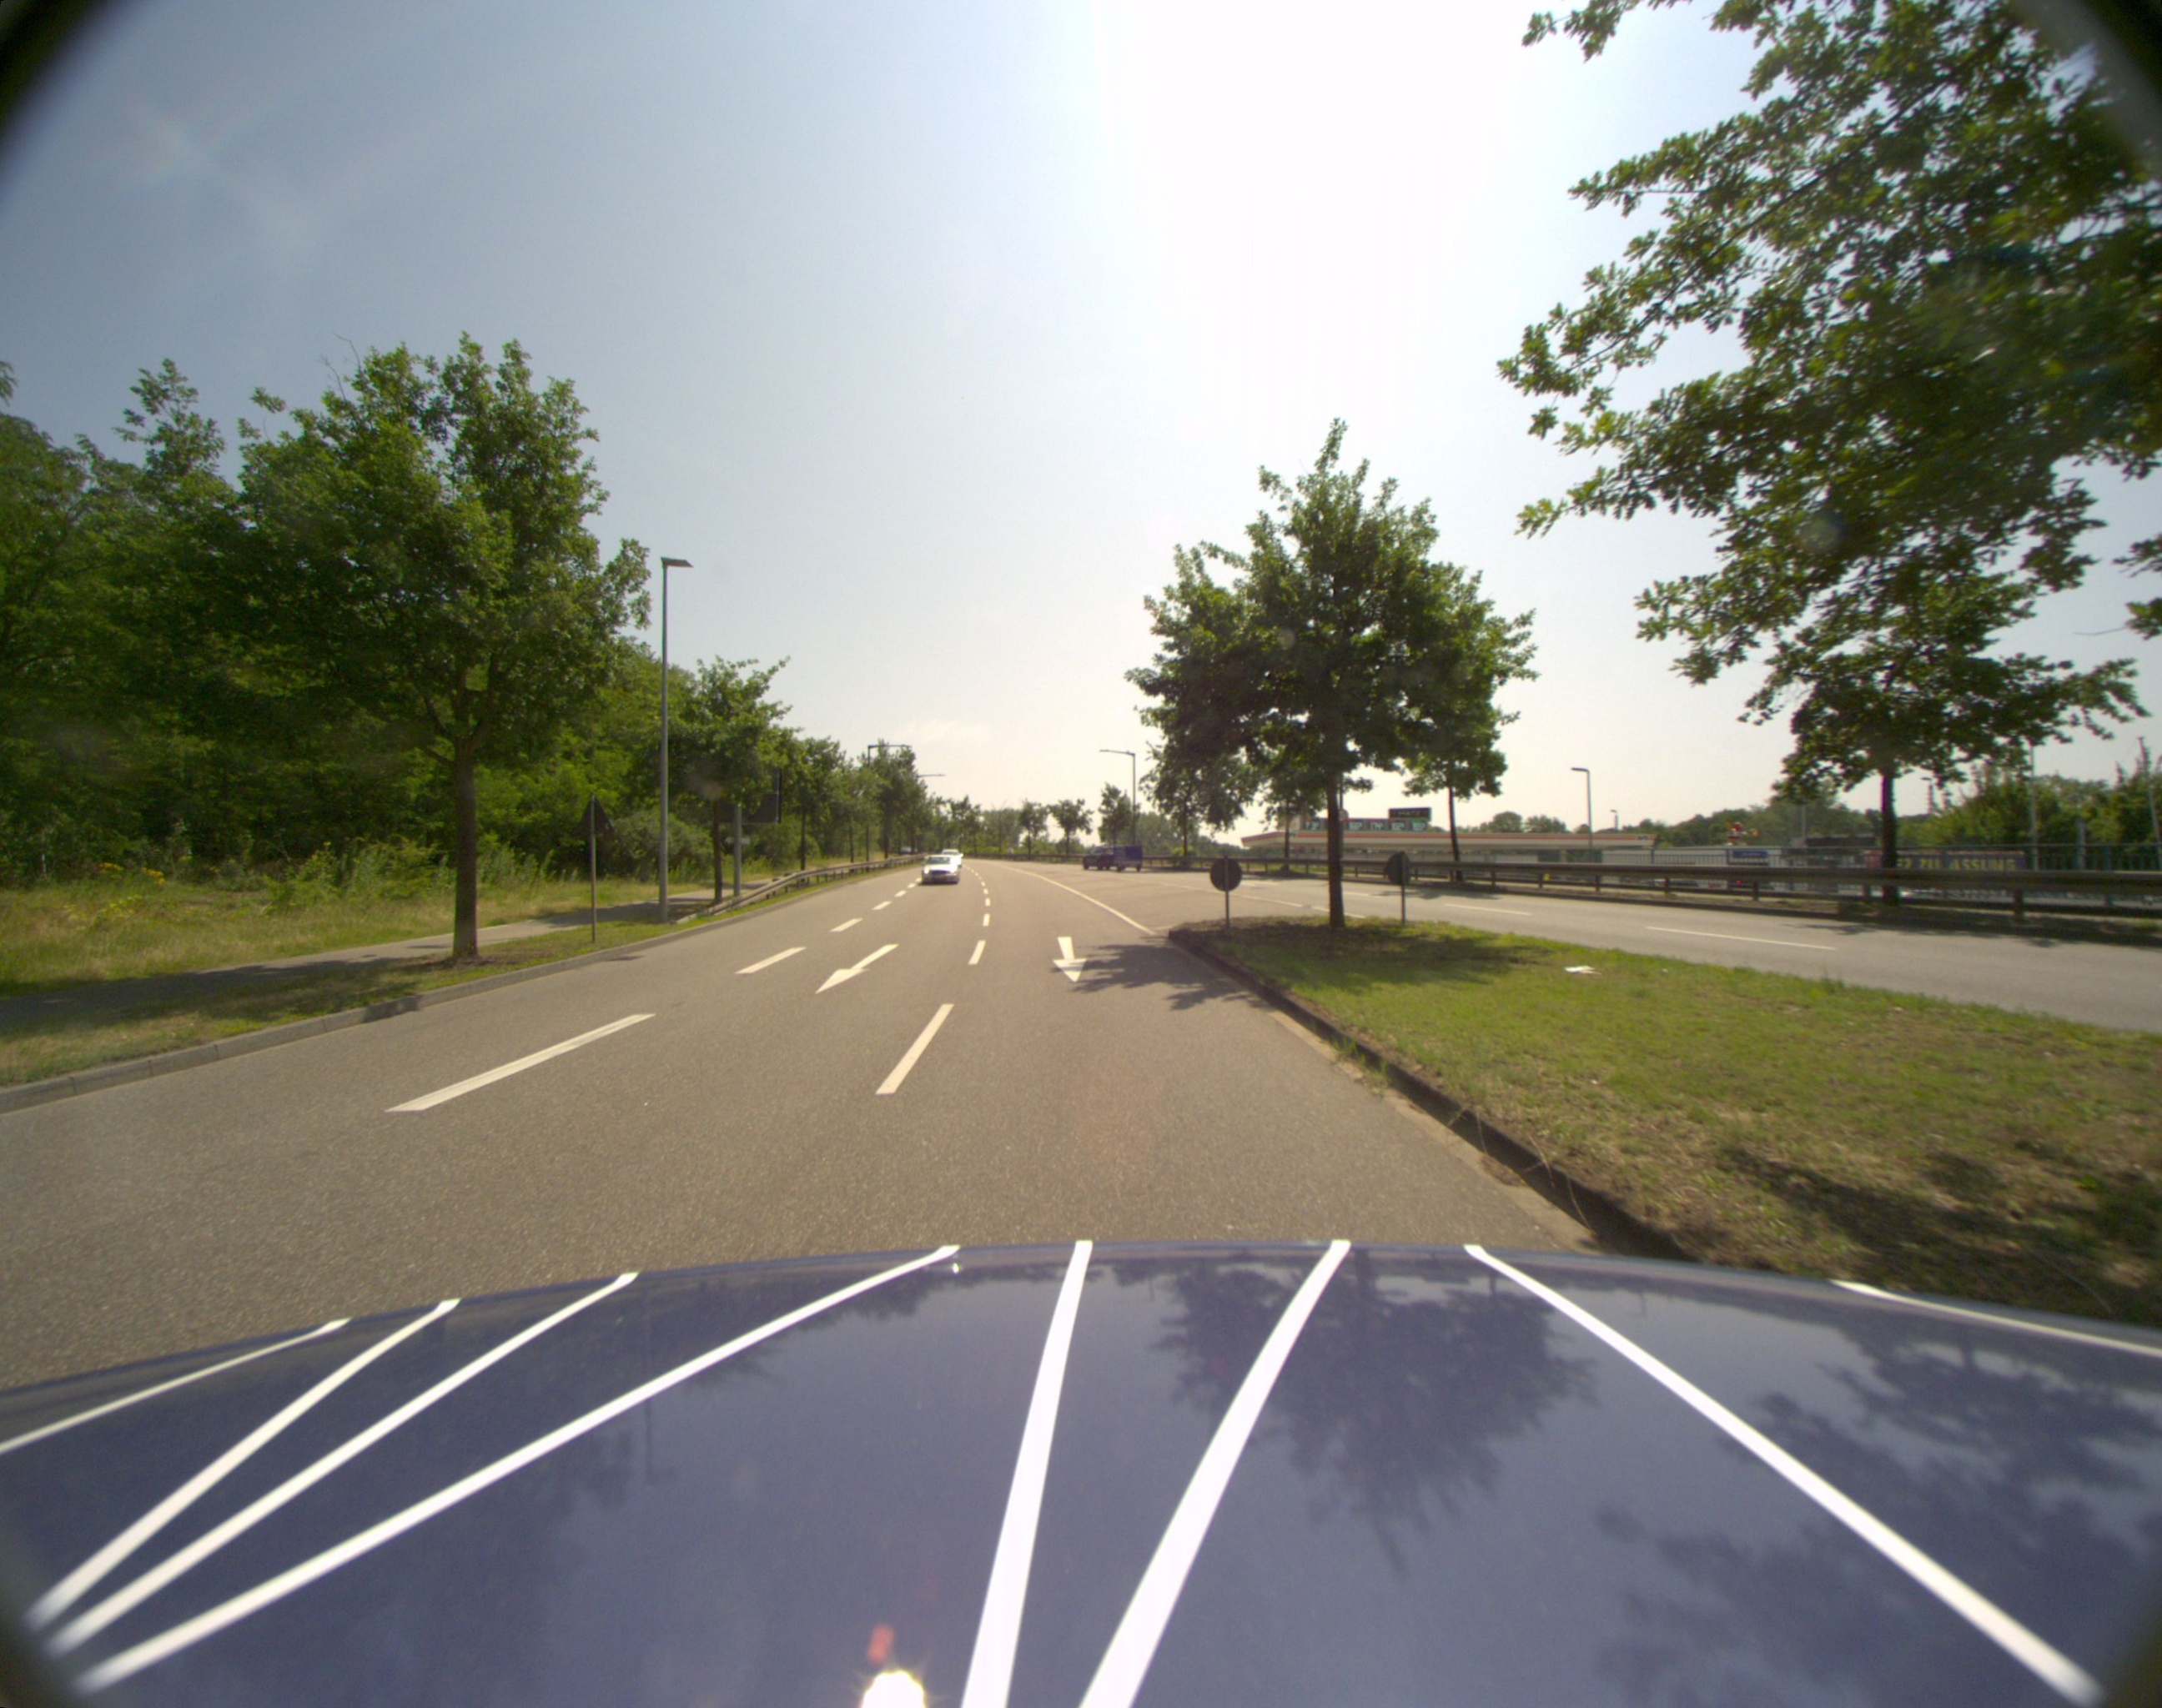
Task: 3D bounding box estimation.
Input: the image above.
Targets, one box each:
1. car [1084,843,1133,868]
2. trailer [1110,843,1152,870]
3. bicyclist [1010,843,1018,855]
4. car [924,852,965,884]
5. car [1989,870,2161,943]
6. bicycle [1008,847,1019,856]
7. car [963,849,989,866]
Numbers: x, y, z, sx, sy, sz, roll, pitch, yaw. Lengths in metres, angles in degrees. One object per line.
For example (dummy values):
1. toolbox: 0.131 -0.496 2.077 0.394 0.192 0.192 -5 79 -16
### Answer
1. car: 1.807 0.099 51.838 1.922 1.642 4.400 -2 0 -18
2. trailer: 3.116 0.134 48.201 1.511 1.606 3.303 -2 0 -18
3. bicyclist: -8.683 -0.646 97.906 0.733 1.457 0.822 4 0 -23
4. car: -6.741 0.655 37.886 1.764 1.490 4.231 -1 0 -7
5. car: 31.017 1.561 23.361 3.998 2.002 1.999 -1 0 -3
6. bicycle: -8.707 -0.341 97.929 0.737 1.110 2.042 4 0 -22
7. car: -8.691 0.312 62.631 2.000 1.361 4.230 -1 0 -10
